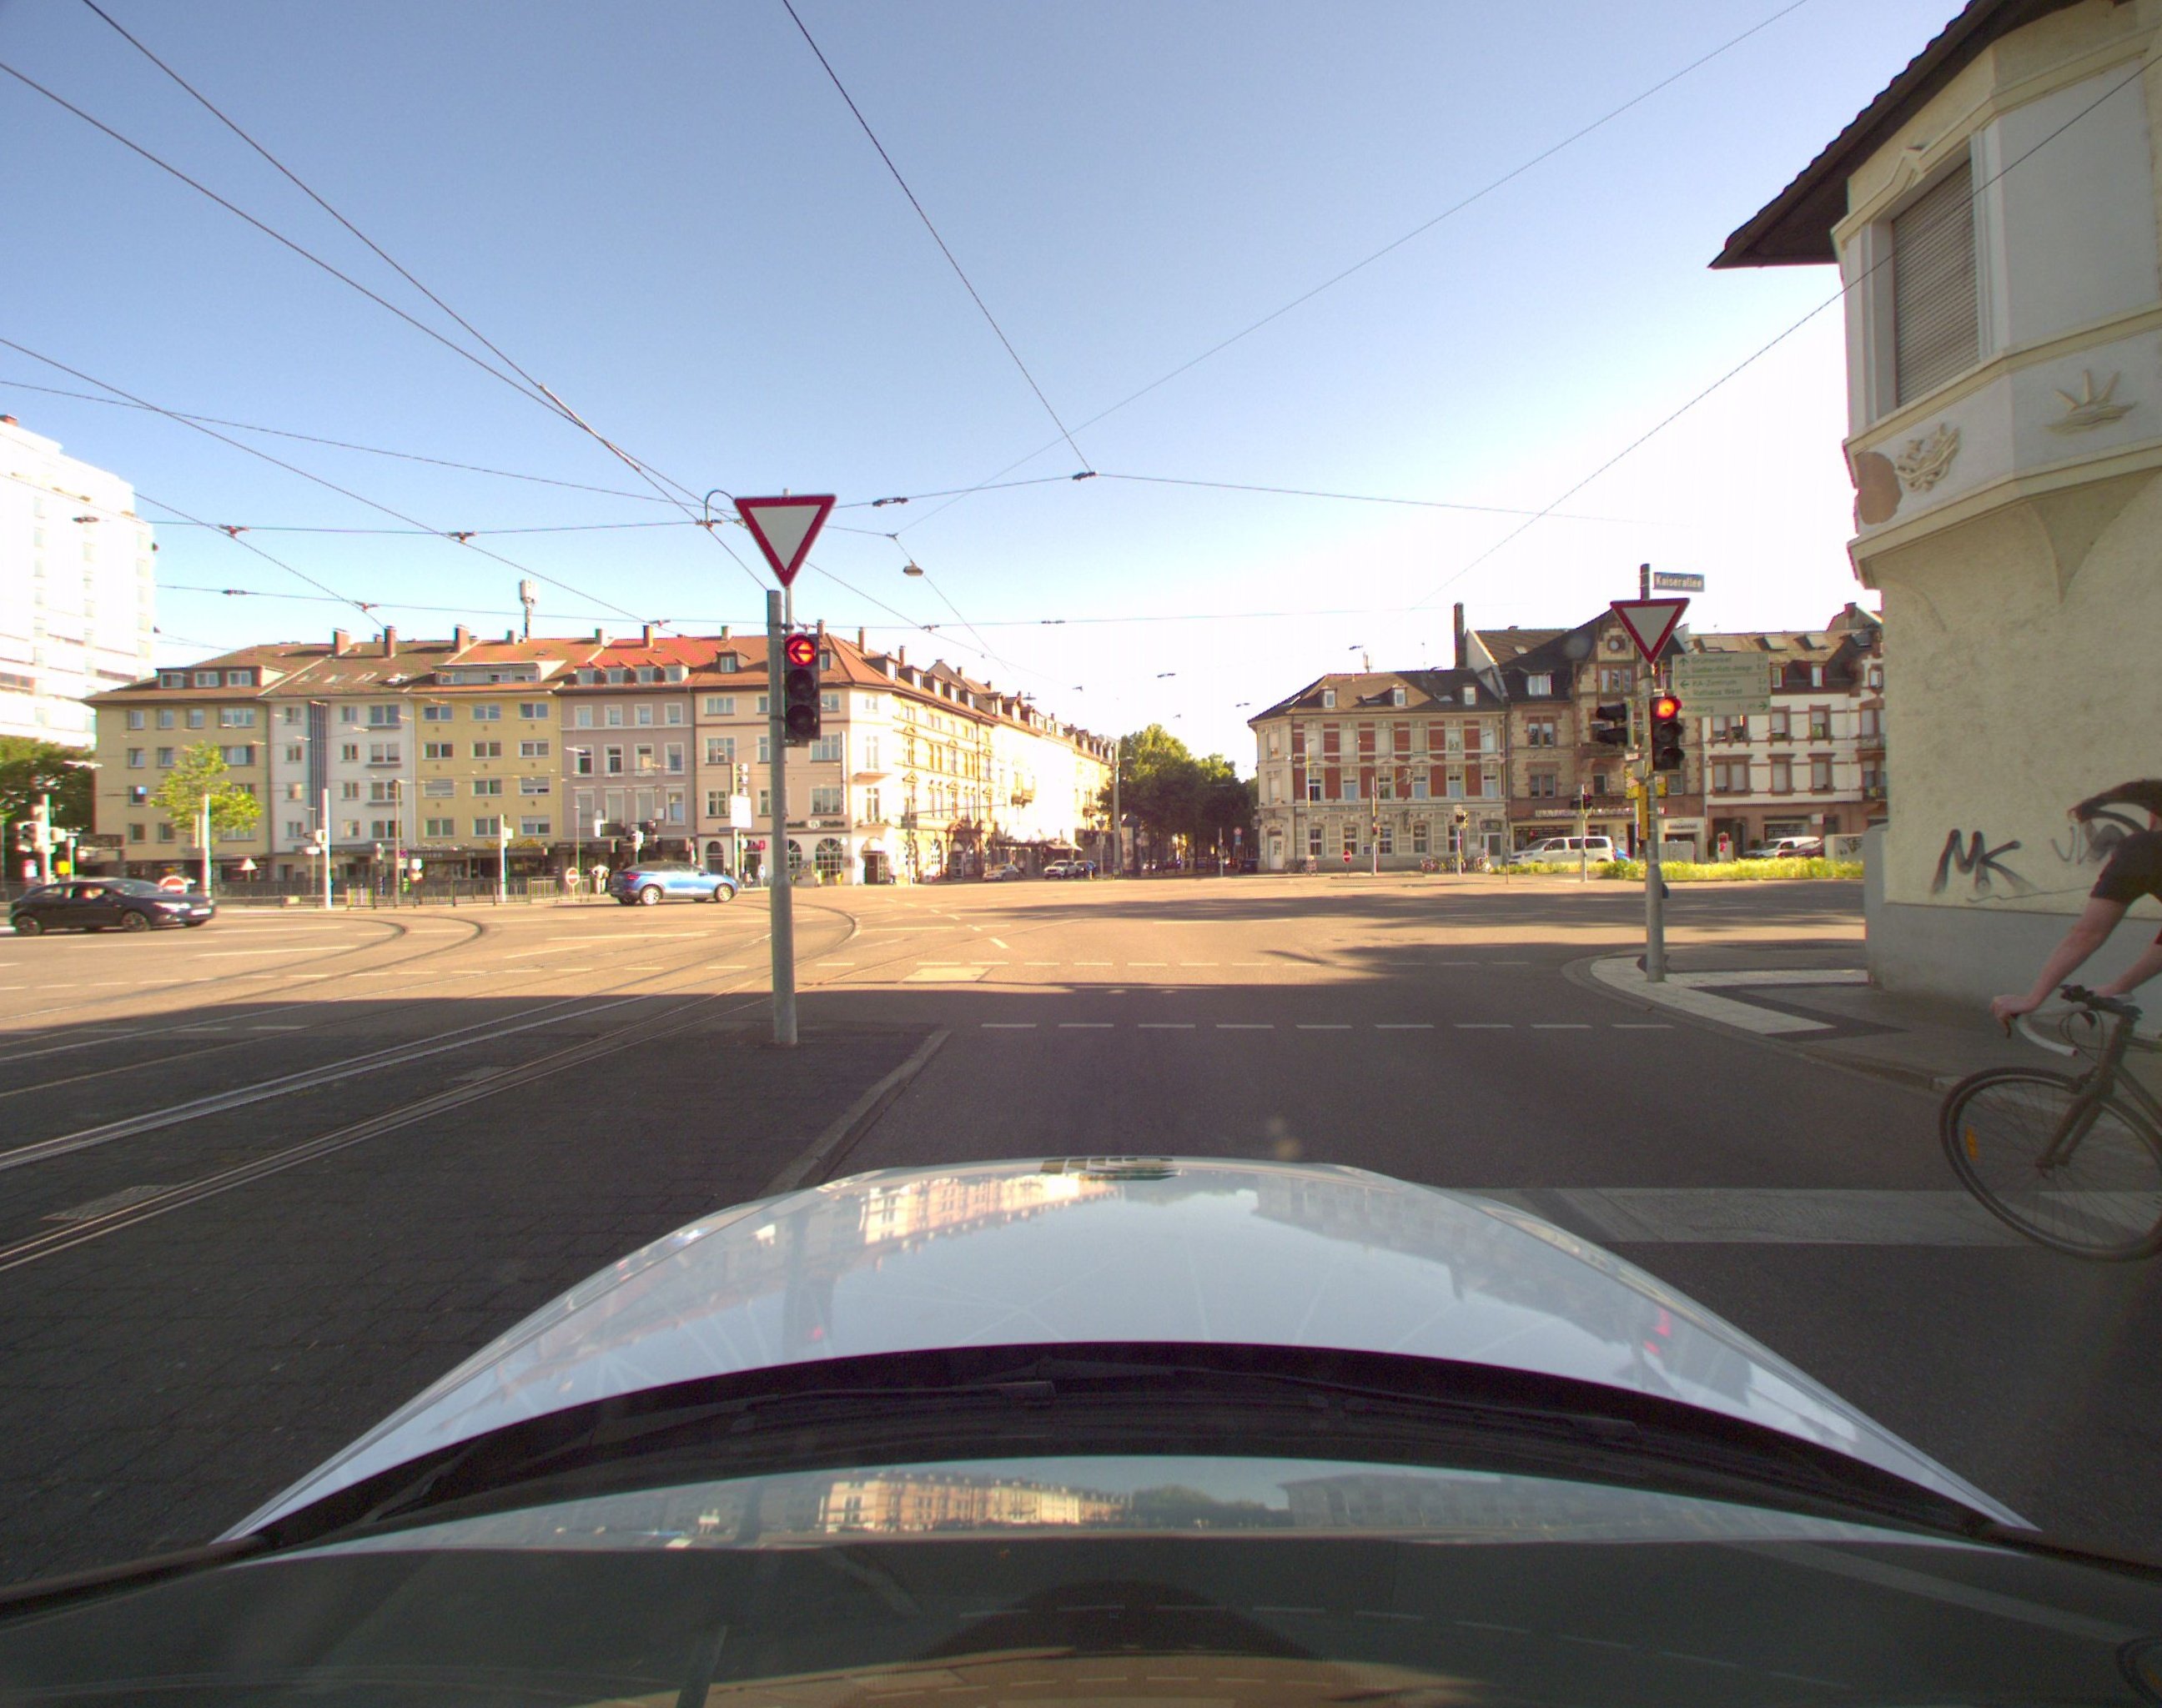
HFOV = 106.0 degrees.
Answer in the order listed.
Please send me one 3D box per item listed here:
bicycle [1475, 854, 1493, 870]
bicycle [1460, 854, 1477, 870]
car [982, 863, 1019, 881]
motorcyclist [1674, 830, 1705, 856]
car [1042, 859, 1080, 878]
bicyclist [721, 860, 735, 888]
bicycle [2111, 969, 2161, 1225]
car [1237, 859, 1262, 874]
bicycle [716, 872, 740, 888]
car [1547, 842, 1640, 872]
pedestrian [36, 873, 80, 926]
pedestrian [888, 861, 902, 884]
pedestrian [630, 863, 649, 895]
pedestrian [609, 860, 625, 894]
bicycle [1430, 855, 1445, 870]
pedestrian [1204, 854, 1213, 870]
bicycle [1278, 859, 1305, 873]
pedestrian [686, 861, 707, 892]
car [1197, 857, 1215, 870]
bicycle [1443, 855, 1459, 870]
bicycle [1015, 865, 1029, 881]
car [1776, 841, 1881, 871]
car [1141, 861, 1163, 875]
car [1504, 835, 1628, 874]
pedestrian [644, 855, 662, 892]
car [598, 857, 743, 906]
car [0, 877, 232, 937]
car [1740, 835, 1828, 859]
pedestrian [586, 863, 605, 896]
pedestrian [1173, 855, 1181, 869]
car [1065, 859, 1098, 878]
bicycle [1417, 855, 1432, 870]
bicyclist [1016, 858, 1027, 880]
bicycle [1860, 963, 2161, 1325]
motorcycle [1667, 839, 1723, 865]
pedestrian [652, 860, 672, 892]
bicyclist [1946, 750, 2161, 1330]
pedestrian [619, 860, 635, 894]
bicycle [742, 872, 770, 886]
[{"bbox_3d":[26.047,0.531,52.670,0.785,1.016,2.221,-1,-1,20],"label":"bicycle"},{"bbox_3d":[25.152,0.540,52.868,0.758,1.007,2.231,-1,-1,20],"label":"bicycle"},{"bbox_3d":[-6.615,1.472,67.328,1.647,1.374,3.909,-1,-1,17],"label":"car"},{"bbox_3d":[30.900,-0.572,41.361,1.008,1.300,0.791,-1,-1,9],"label":"motorcyclist"},{"bbox_3d":[-1.654,1.176,67.556,1.788,1.585,4.179,-1,-1,19],"label":"car"},{"bbox_3d":[-22.989,1.307,53.088,0.618,1.790,0.616,0,-1,7],"label":"bicyclist"},{"bbox_3d":[4.460,0.956,2.445,0.501,0.983,1.783,0,-1,2],"label":"bicycle"},{"bbox_3d":[17.074,1.251,82.258,1.741,1.556,4.021,-1,-1,22],"label":"car"},{"bbox_3d":[-22.991,1.700,53.055,0.618,1.030,1.758,0,-1,7],"label":"bicycle"},{"bbox_3d":[28.329,0.177,45.116,3.970,1.622,1.806,0,-1,3],"label":"car"},{"bbox_3d":[-31.683,1.386,25.234,0.770,1.609,0.605,0,-1,-44],"label":"pedestrian"},{"bbox_3d":[-13.183,1.301,57.780,0.562,1.642,0.797,-1,-1,25],"label":"pedestrian"},{"bbox_3d":[-22.934,1.303,42.333,0.571,1.648,0.727,0,-1,1],"label":"pedestrian"},{"bbox_3d":[-23.181,1.143,40.713,0.520,1.648,0.498,0,-1,1],"label":"pedestrian"},{"bbox_3d":[23.260,0.568,53.092,0.758,0.968,2.221,-1,-1,20],"label":"bicycle"},{"bbox_3d":[16.007,1.031,102.045,0.957,2.014,0.919,0,-1,3],"label":"pedestrian"},{"bbox_3d":[14.708,0.827,56.919,1.789,0.963,0.606,-1,-1,16],"label":"bicycle"},{"bbox_3d":[-19.797,1.159,41.979,0.666,1.594,0.815,0,-1,1],"label":"pedestrian"},{"bbox_3d":[17.878,1.344,116.371,1.978,1.684,4.018,-1,-1,17],"label":"car"},{"bbox_3d":[24.047,0.561,52.969,0.758,0.983,2.221,-1,-1,20],"label":"bicycle"},{"bbox_3d":[-4.756,1.485,65.396,0.561,1.254,1.564,-1,-1,17],"label":"bicycle"},{"bbox_3d":[37.985,0.105,41.447,3.854,1.426,1.596,-1,0,2],"label":"car"},{"bbox_3d":[8.675,1.671,99.043,1.788,1.575,3.908,-1,-1,17],"label":"car"},{"bbox_3d":[24.895,0.032,41.911,5.182,1.854,2.000,-1,0,0],"label":"car"},{"bbox_3d":[-21.556,0.967,41.056,0.525,1.823,0.677,0,-1,1],"label":"pedestrian"},{"bbox_3d":[-14.476,0.917,28.908,1.807,1.575,4.226,-1,0,36],"label":"car"},{"bbox_3d":[-25.951,1.391,21.947,3.980,1.403,1.828,-1,0,-5],"label":"car"},{"bbox_3d":[45.184,-0.442,52.436,3.961,1.438,1.874,0,-1,5],"label":"car"},{"bbox_3d":[-25.086,1.310,42.074,0.582,1.648,0.616,0,-1,1],"label":"pedestrian"},{"bbox_3d":[14.124,1.218,119.750,0.936,2.014,0.830,-1,-1,16],"label":"pedestrian"},{"bbox_3d":[0.070,1.286,73.774,1.809,1.685,3.893,-1,-1,18],"label":"car"},{"bbox_3d":[22.505,0.575,53.359,0.758,0.963,2.221,-1,-1,20],"label":"bicycle"},{"bbox_3d":[-4.765,1.215,65.407,0.561,1.804,0.918,-1,-1,17],"label":"bicyclist"},{"bbox_3d":[3.589,0.962,2.625,0.480,0.991,1.783,0,-1,2],"label":"bicycle"},{"bbox_3d":[31.129,-0.095,41.318,2.123,1.333,0.799,0,-1,9],"label":"motorcycle"},{"bbox_3d":[-21.565,1.110,41.951,0.580,1.648,0.840,0,-1,1],"label":"pedestrian"},{"bbox_3d":[3.585,0.567,2.623,0.587,1.767,0.936,0,-1,2],"label":"bicyclist"},{"bbox_3d":[-22.571,1.137,40.486,0.520,1.648,0.498,0,-1,1],"label":"pedestrian"},{"bbox_3d":[-22.988,1.752,57.602,1.694,0.983,0.611,0,-1,1],"label":"bicycle"}]
